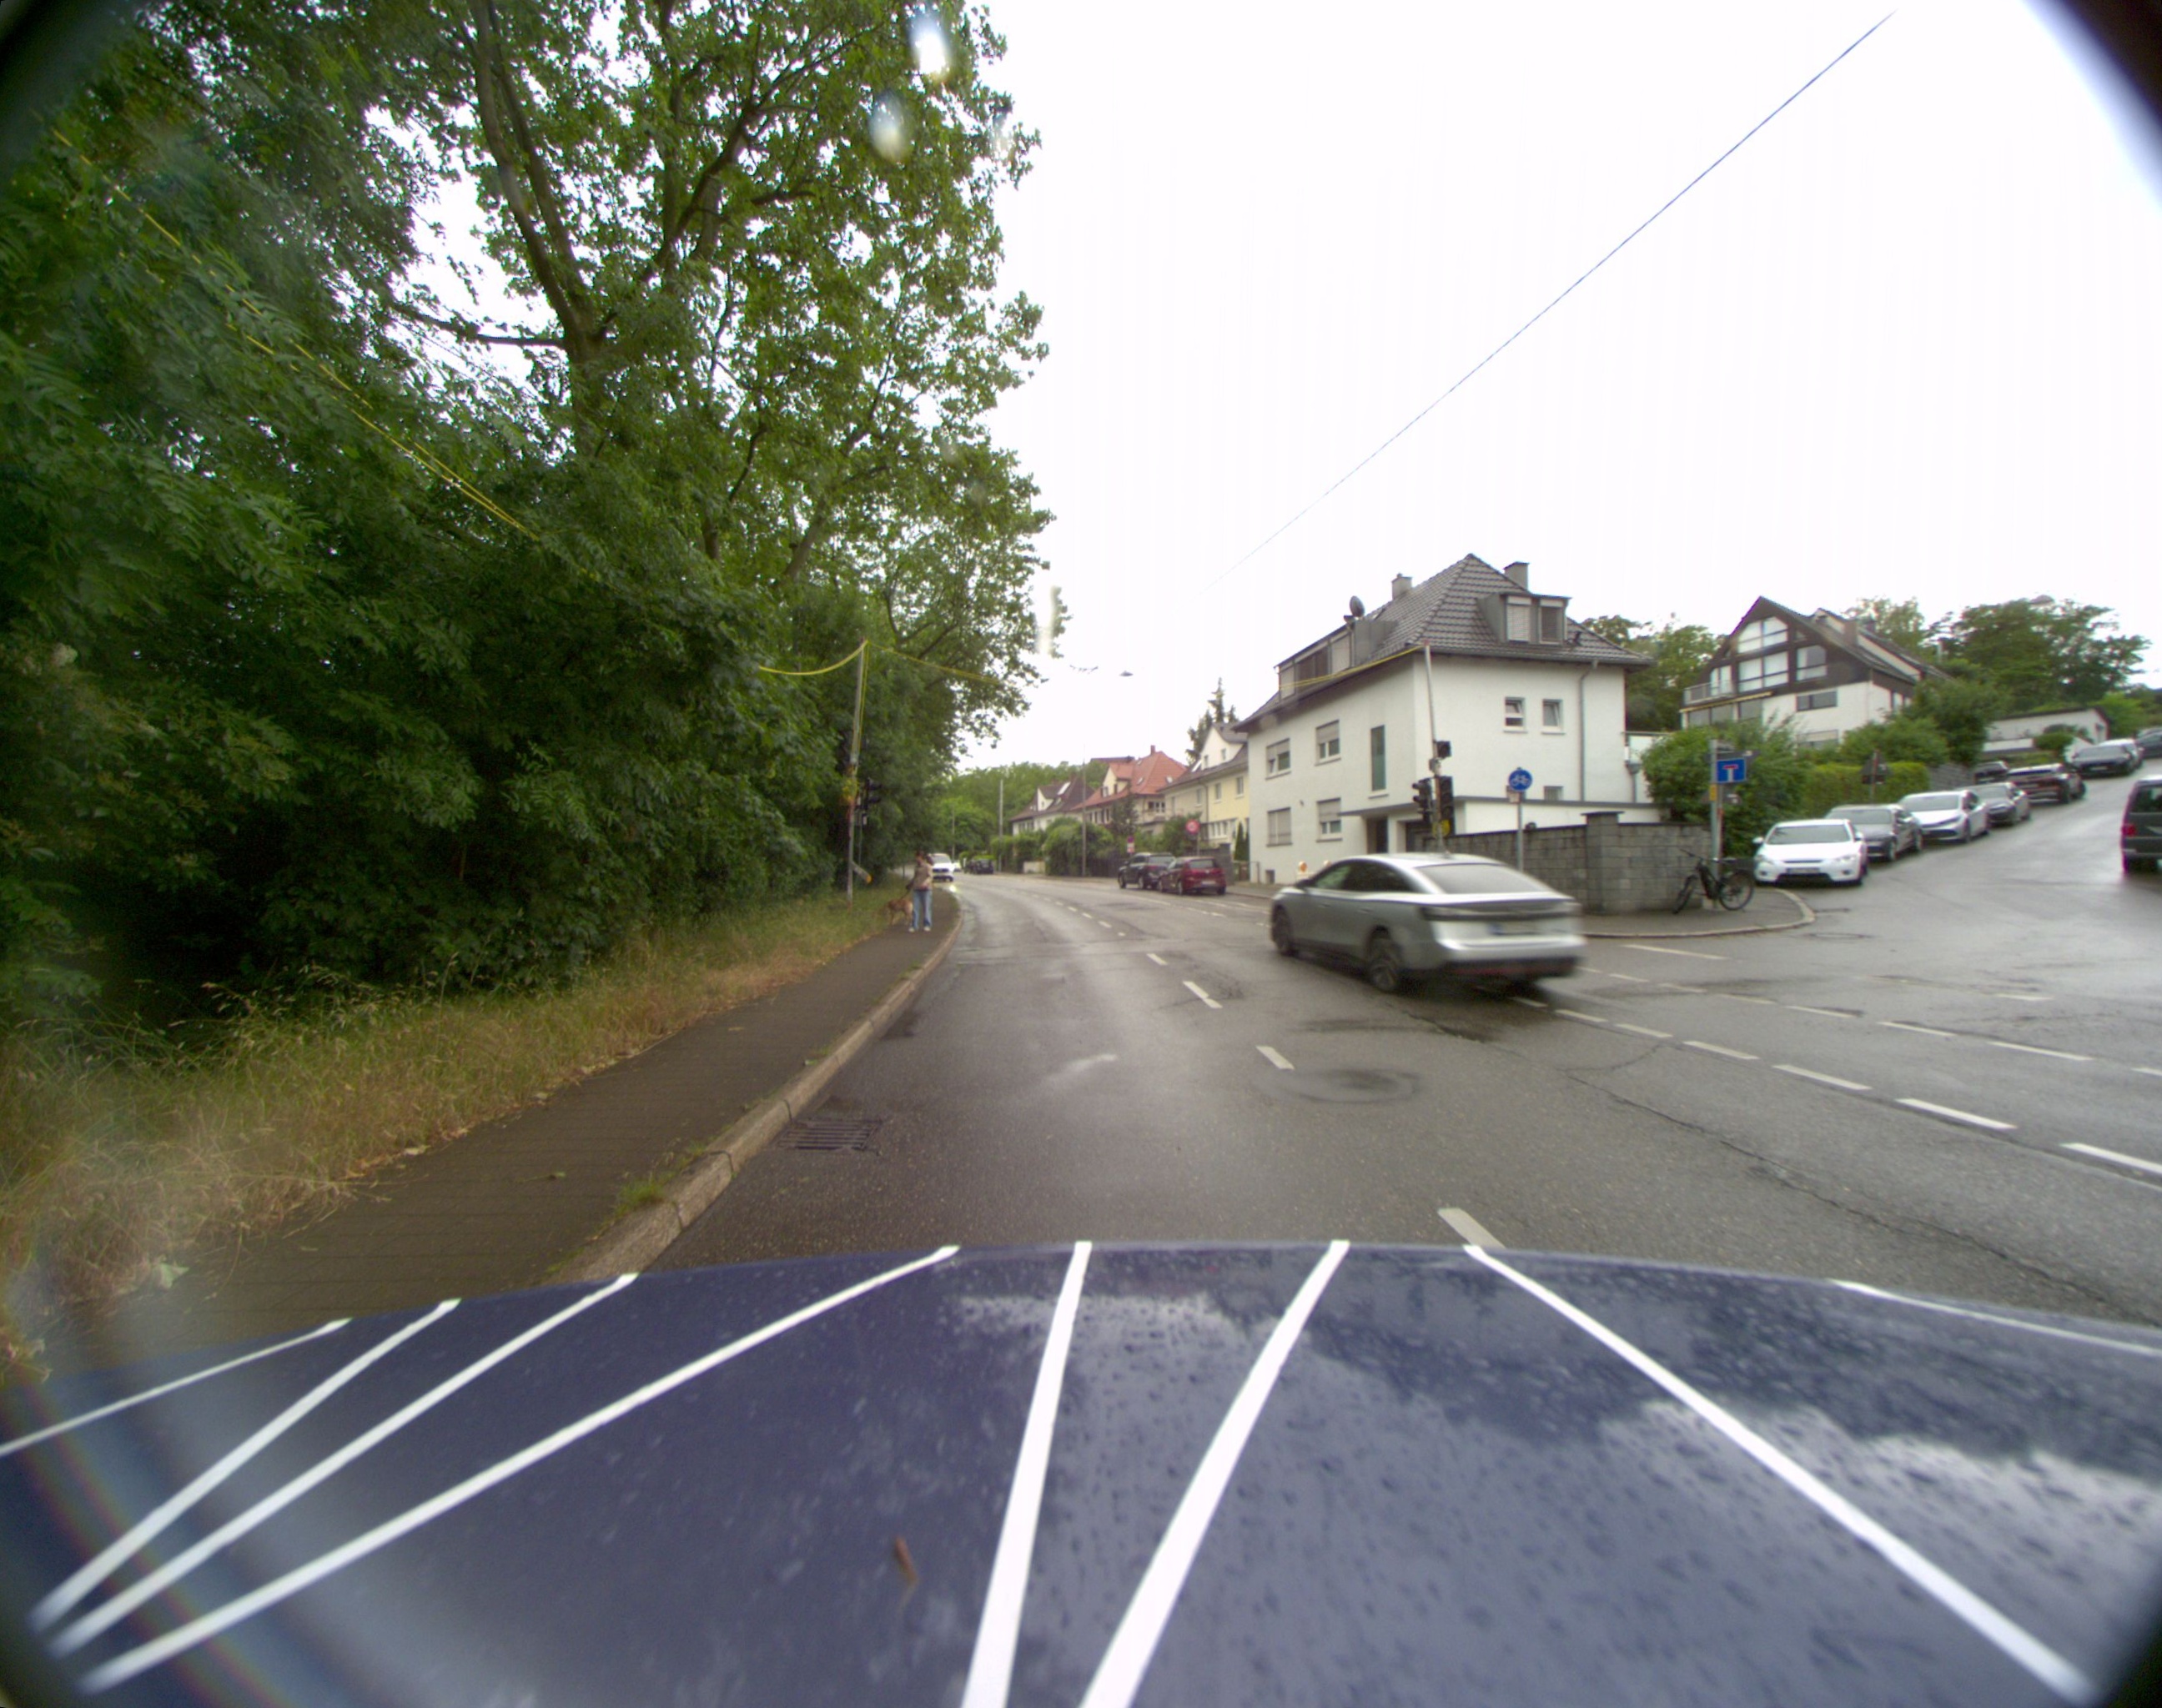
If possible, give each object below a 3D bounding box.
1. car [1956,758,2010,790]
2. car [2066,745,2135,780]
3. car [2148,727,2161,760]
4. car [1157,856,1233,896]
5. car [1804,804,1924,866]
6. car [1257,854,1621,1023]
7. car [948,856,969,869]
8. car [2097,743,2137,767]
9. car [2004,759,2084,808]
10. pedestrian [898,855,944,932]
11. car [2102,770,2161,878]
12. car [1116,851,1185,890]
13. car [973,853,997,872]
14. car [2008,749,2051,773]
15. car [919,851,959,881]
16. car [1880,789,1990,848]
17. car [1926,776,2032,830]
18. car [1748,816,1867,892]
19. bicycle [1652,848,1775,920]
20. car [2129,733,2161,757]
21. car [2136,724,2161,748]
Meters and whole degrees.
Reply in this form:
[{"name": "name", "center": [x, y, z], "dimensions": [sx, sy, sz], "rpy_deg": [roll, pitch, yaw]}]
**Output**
[{"name": "car", "center": [52.870, -4.651, 44.518], "dimensions": [4.020, 1.545, 1.812], "rpy_deg": [-3, 1, -37]}, {"name": "car", "center": [54.817, -4.882, 40.841], "dimensions": [4.034, 1.511, 1.786], "rpy_deg": [-2, 0, -31]}, {"name": "car", "center": [72.467, -7.452, 48.982], "dimensions": [2.003, 2.000, 3.993], "rpy_deg": [-2, -4, -32]}, {"name": "car", "center": [4.385, 0.819, 29.908], "dimensions": [1.787, 1.423, 3.844], "rpy_deg": [-2, 0, -10]}, {"name": "car", "center": [22.466, -0.559, 21.761], "dimensions": [3.910, 1.380, 1.719], "rpy_deg": [-7, 3, -34]}, {"name": "car", "center": [3.999, 0.792, 9.633], "dimensions": [1.859, 1.518, 4.816], "rpy_deg": [-2, 1, -7]}, {"name": "car", "center": [-15.229, 1.080, 94.180], "dimensions": [2.071, 1.477, 4.556], "rpy_deg": [-2, 0, -16]}, {"name": "car", "center": [59.840, -5.745, 43.898], "dimensions": [2.988, 1.191, 1.305], "rpy_deg": [-6, 3, -35]}, {"name": "car", "center": [40.721, -2.985, 32.113], "dimensions": [4.004, 1.617, 1.638], "rpy_deg": [-8, 4, -32]}, {"name": "pedestrian", "center": [-3.161, 0.767, 15.075], "dimensions": [0.735, 1.490, 0.785], "rpy_deg": [1, 1, -1]}, {"name": "car", "center": [23.884, -0.753, 16.263], "dimensions": [4.497, 2.003, 1.996], "rpy_deg": [-7, 3, -31]}, {"name": "car", "center": [3.133, 0.734, 35.036], "dimensions": [1.798, 1.630, 4.150], "rpy_deg": [-1, 0, -15]}, {"name": "car", "center": [-9.604, 0.849, 75.959], "dimensions": [1.882, 1.814, 4.121], "rpy_deg": [-2, 0, -14]}, {"name": "car", "center": [57.241, -5.641, 45.866], "dimensions": [3.656, 1.205, 1.577], "rpy_deg": [-7, 3, -38]}, {"name": "car", "center": [-10.103, 0.817, 53.837], "dimensions": [2.105, 1.908, 5.082], "rpy_deg": [-2, 0, -18]}, {"name": "car", "center": [27.271, -1.154, 24.233], "dimensions": [3.951, 1.462, 1.755], "rpy_deg": [-7, 3, -33]}, {"name": "car", "center": [32.329, -1.833, 27.335], "dimensions": [4.111, 1.430, 1.921], "rpy_deg": [-9, 4, -33]}, {"name": "car", "center": [17.778, -0.049, 18.539], "dimensions": [4.126, 1.455, 1.849], "rpy_deg": [-7, 4, -43]}, {"name": "bicycle", "center": [11.589, 0.536, 13.937], "dimensions": [2.006, 1.232, 0.510], "rpy_deg": [-2, 3, -8]}, {"name": "car", "center": [68.327, -6.941, 47.698], "dimensions": [1.286, 1.310, 2.945], "rpy_deg": [-3, 1, -36]}, {"name": "car", "center": [81.121, -8.872, 55.959], "dimensions": [1.754, 1.508, 3.961], "rpy_deg": [-3, 1, -35]}]
